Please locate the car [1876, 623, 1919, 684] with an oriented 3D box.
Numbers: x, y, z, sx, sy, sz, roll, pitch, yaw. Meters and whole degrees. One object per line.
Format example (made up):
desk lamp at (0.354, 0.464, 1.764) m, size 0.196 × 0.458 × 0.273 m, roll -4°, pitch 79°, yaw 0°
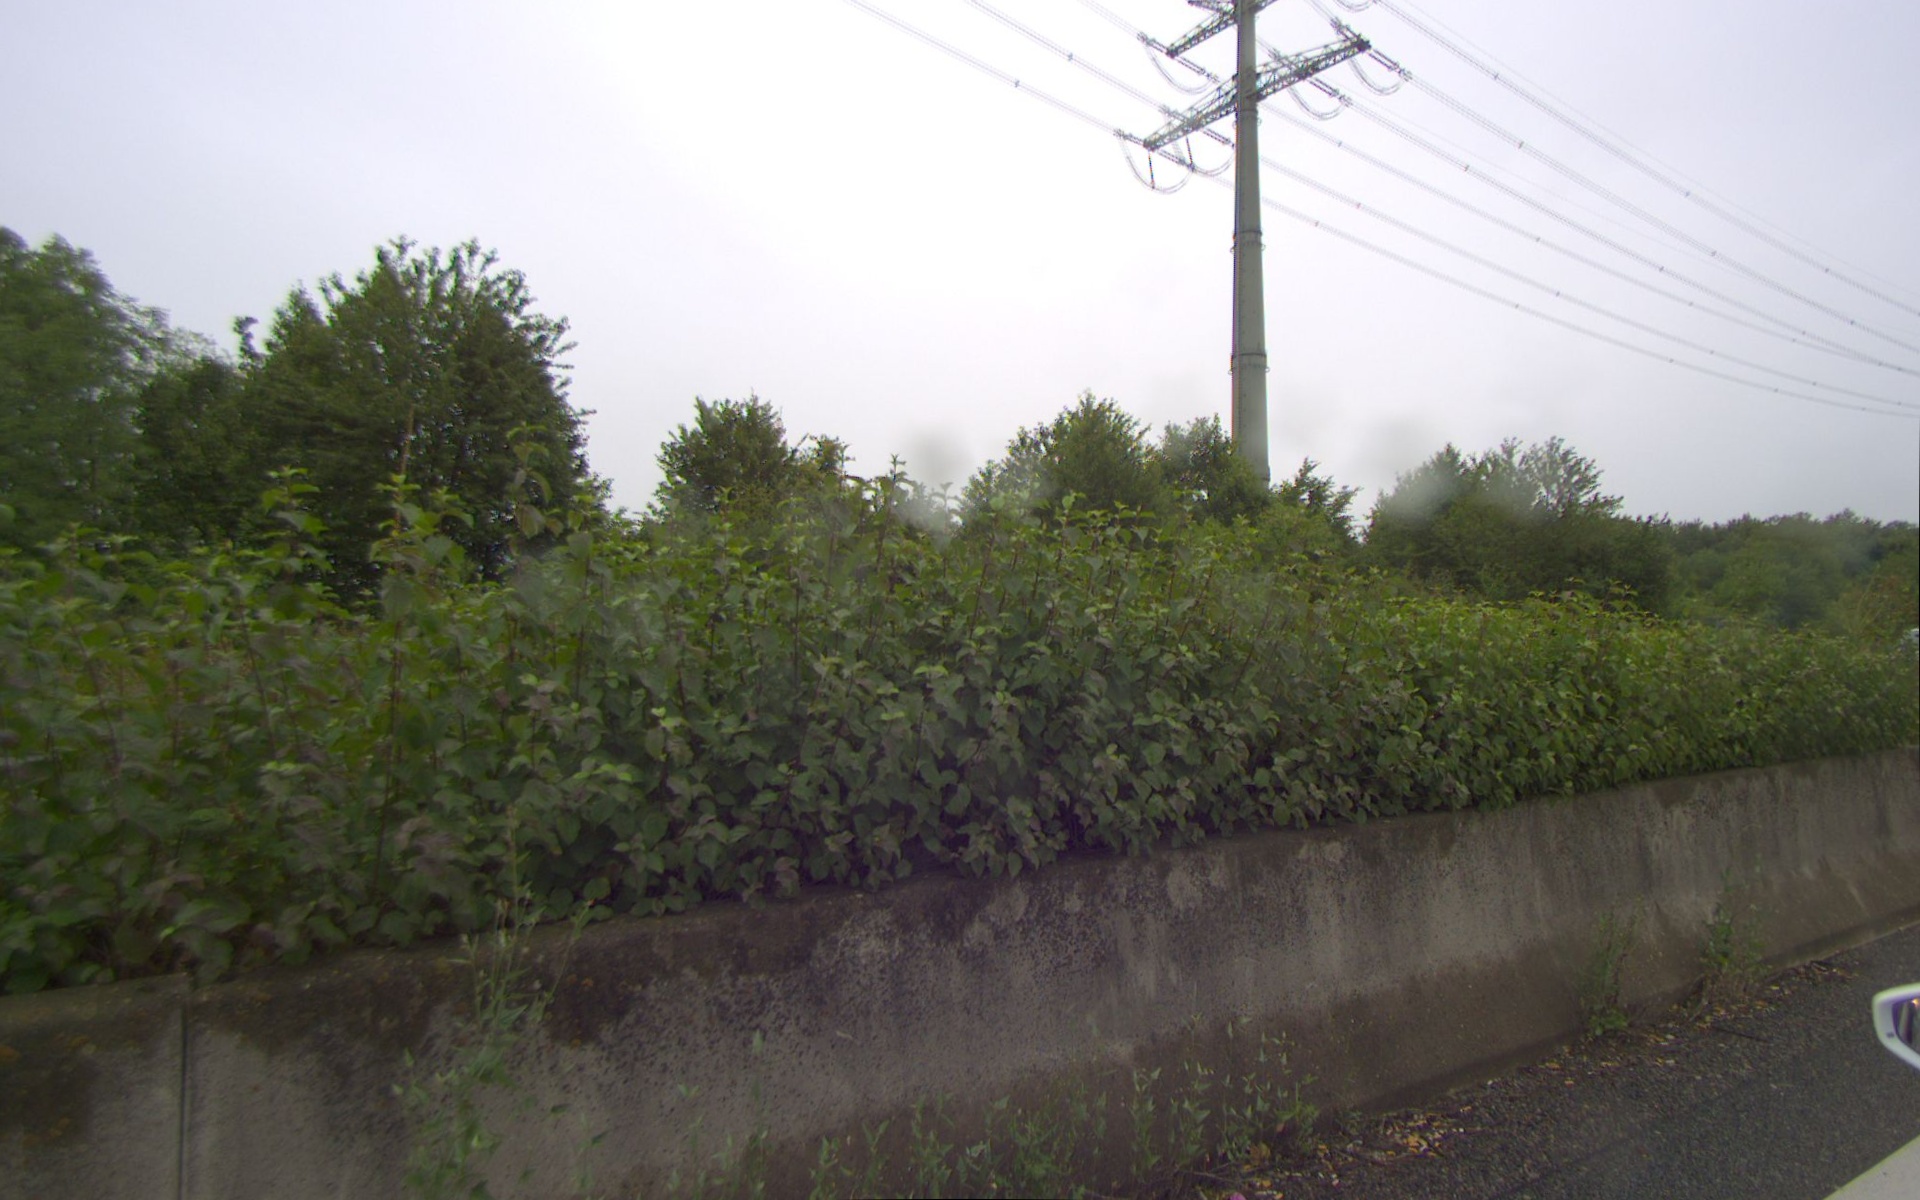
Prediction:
car at (29.875, 1.610, 30.265) m, size 5.000 × 1.749 × 1.984 m, roll 1°, pitch -1°, yaw -30°
